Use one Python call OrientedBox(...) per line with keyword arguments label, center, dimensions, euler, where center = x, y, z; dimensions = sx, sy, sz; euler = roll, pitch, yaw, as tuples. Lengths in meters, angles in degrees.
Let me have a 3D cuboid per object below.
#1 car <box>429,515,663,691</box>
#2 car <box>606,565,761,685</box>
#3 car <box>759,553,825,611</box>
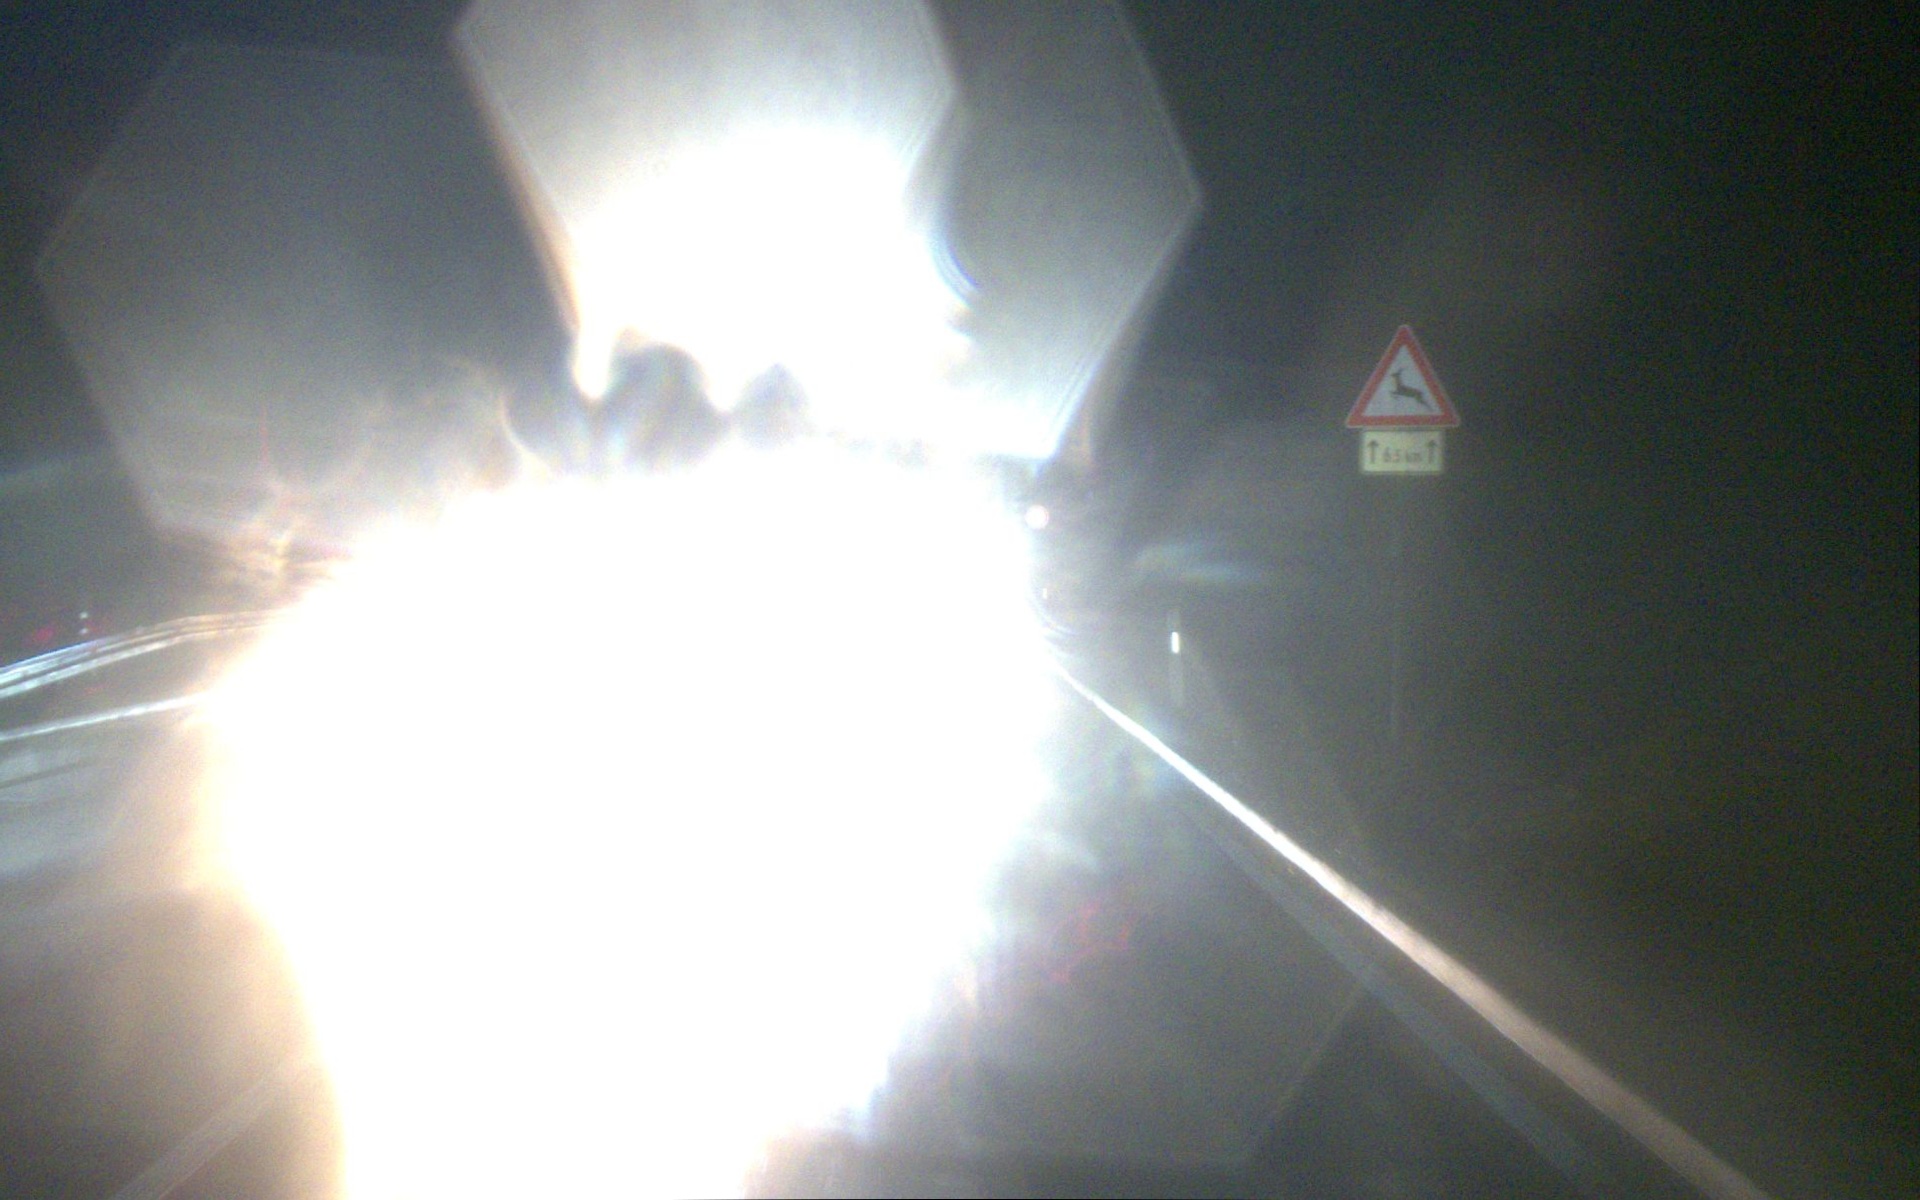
OrientedBox(label="car", center=(-4.147, -0.014, 34.977), dimensions=(1.888, 1.665, 4.000), euler=(-1, 1, 0))
OrientedBox(label="car", center=(-3.930, 0.322, 49.437), dimensions=(1.888, 1.581, 4.000), euler=(-1, 1, 0))
OrientedBox(label="car", center=(-4.503, -0.509, 92.569), dimensions=(1.700, 1.462, 4.042), euler=(-1, 1, -2))
